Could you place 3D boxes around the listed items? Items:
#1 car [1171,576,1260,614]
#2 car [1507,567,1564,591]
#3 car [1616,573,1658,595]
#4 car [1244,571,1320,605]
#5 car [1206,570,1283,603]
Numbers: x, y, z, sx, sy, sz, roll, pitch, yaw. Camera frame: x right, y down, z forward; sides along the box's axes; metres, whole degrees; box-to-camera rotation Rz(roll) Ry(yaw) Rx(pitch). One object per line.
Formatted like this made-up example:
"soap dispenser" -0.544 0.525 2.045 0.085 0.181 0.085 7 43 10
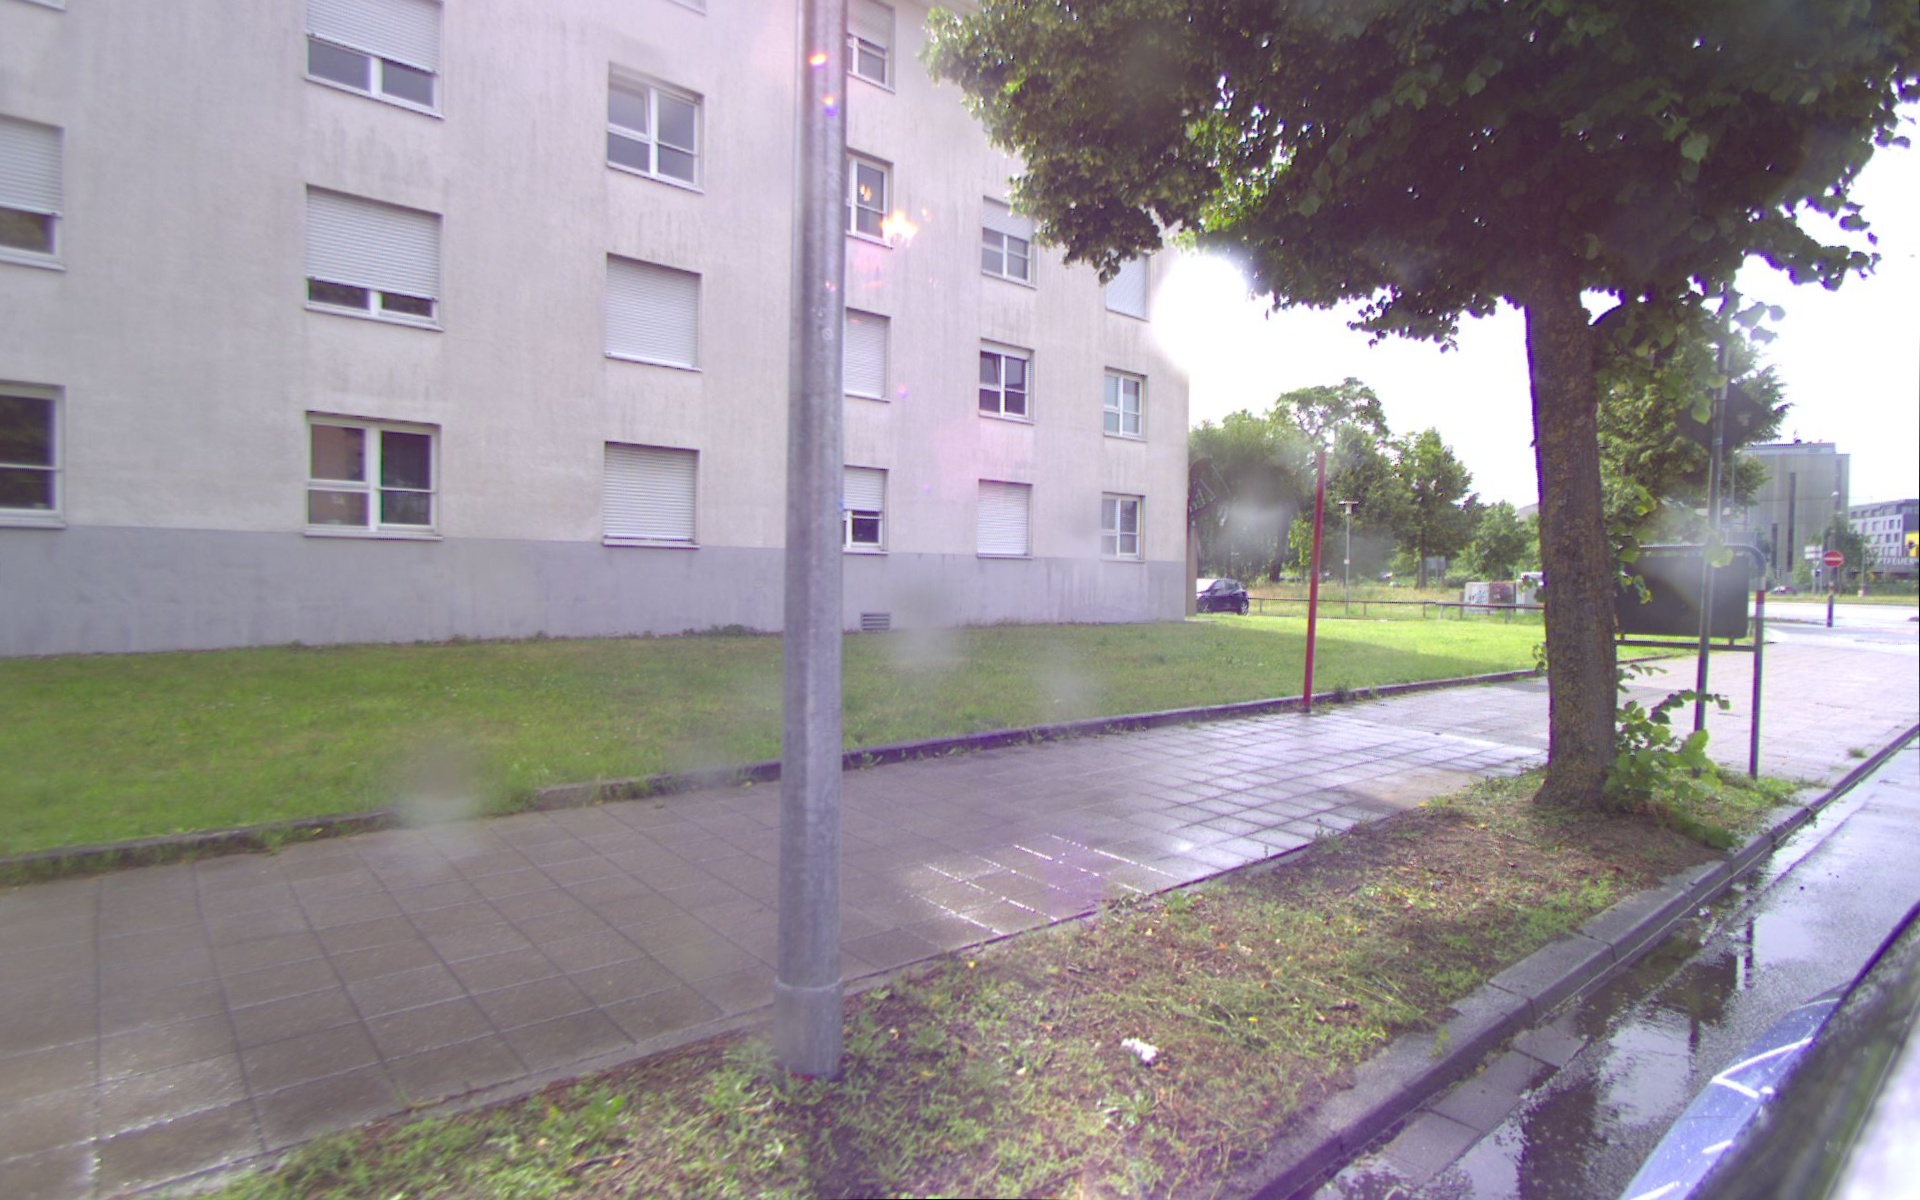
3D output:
"car" 9.649 -0.216 38.091 3.809 1.342 1.389 0 2 -42
"car" 42.443 -1.581 74.765 1.858 1.734 4.228 1 2 2
"car" 55.906 -1.315 83.557 3.931 1.771 1.866 0 2 -42
"car" 15.612 -0.593 49.029 3.707 1.568 1.932 0 2 -42
"car" 14.203 -0.690 50.463 3.932 1.568 1.932 0 2 -42
